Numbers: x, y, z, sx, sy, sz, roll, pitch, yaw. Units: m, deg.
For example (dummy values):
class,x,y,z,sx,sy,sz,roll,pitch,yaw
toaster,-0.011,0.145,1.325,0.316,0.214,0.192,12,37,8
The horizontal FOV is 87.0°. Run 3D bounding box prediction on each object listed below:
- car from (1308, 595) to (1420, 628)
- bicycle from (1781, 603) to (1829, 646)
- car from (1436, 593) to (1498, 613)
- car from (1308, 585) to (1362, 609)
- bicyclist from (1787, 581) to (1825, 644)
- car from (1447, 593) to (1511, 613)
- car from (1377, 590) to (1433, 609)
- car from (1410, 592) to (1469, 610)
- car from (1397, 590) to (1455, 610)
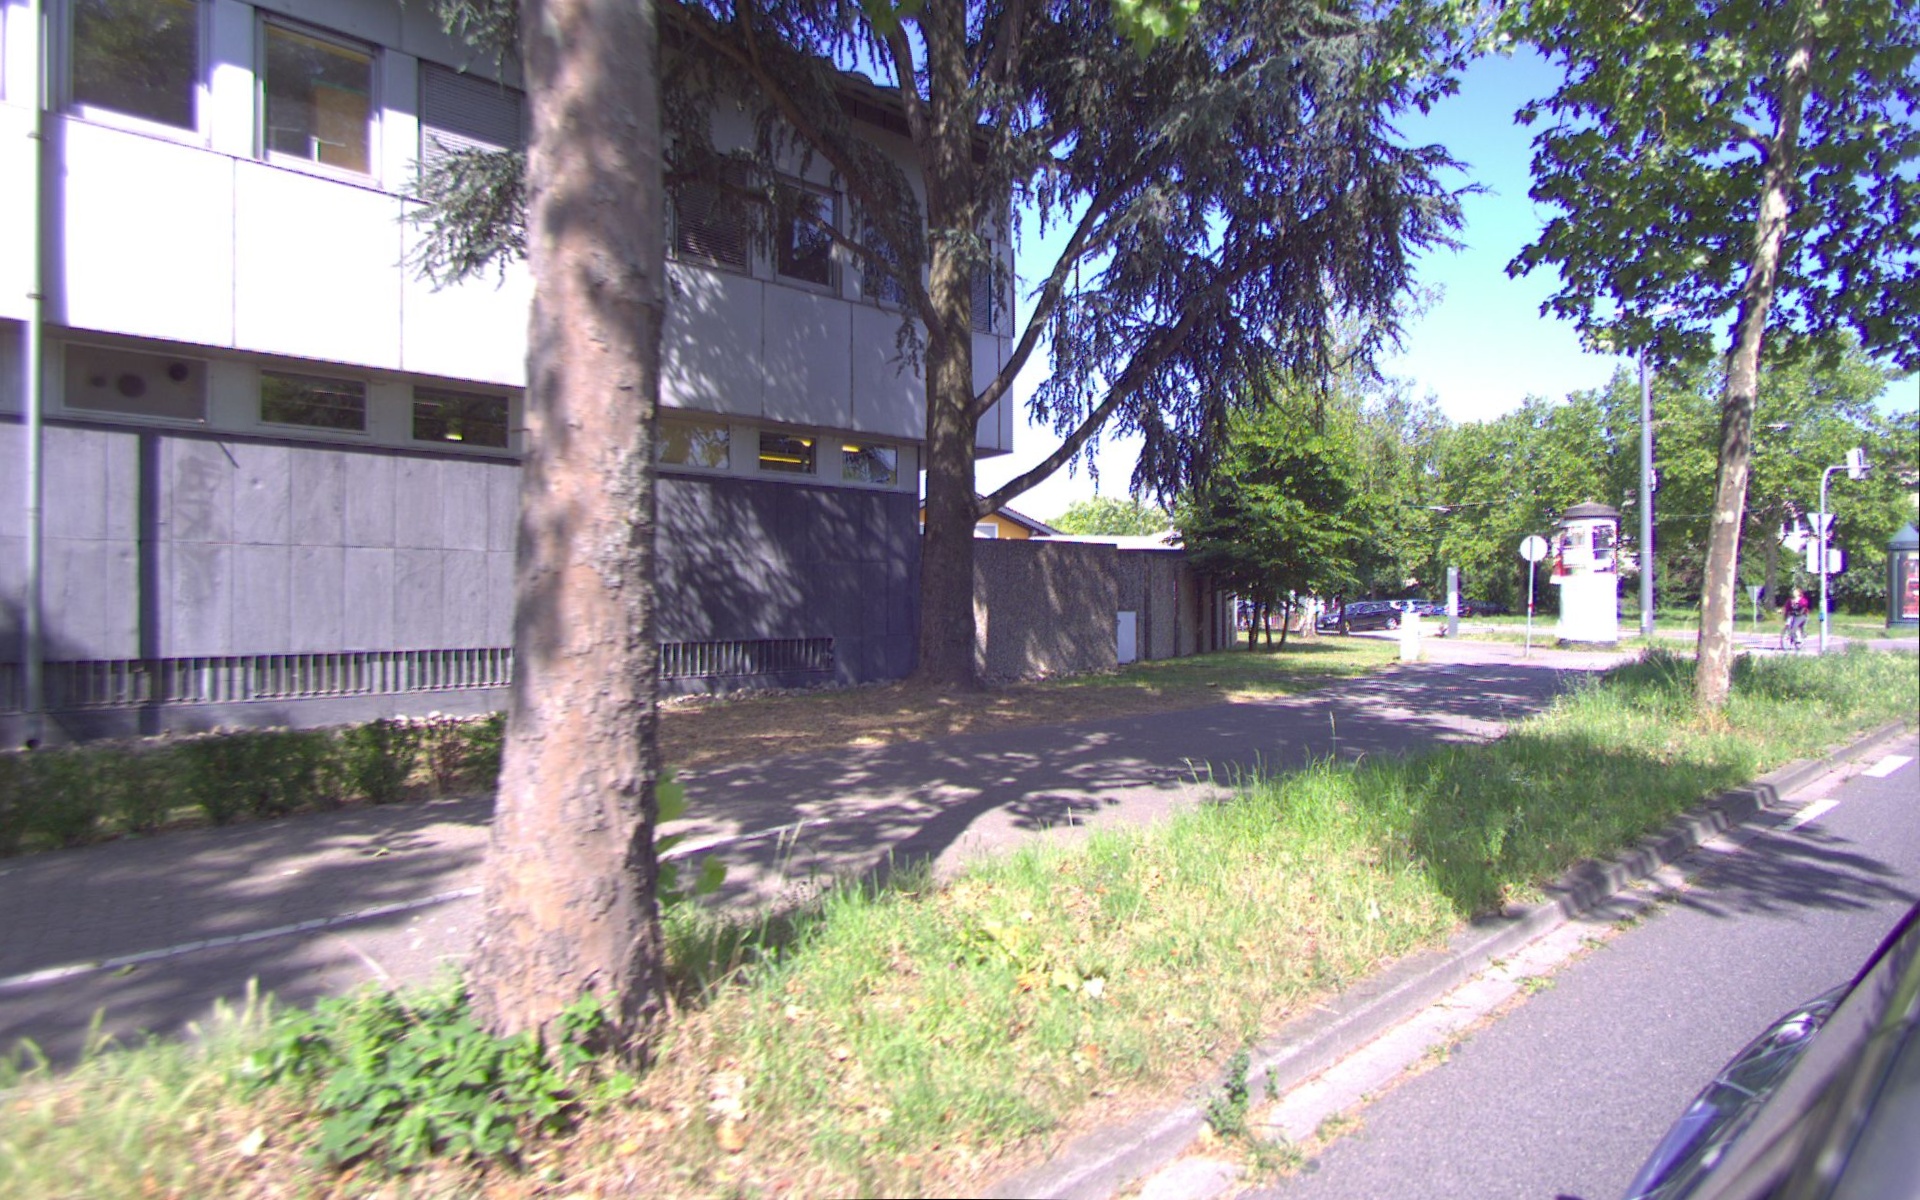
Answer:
class,x,y,z,sx,sy,sz,roll,pitch,yaw
car,20.576,0.574,51.617,5.012,1.517,2.147,-1,1,-15
bicycle,24.671,0.700,29.536,2.087,1.200,0.692,0,0,-40
car,40.607,0.229,81.132,4.263,1.509,2.004,0,0,-18
car,36.058,-0.295,97.433,4.494,2.318,2.004,0,0,-13
bicyclist,24.706,0.347,29.559,0.796,1.809,0.702,1,0,-39
car,40.370,0.215,78.775,4.263,1.509,2.004,0,0,-18
car,39.070,-0.042,88.834,4.263,1.653,2.004,0,0,-18
car,39.734,0.074,83.856,4.263,1.509,2.004,0,0,-18
car,39.753,0.042,86.373,4.263,1.654,2.004,0,-1,-18
